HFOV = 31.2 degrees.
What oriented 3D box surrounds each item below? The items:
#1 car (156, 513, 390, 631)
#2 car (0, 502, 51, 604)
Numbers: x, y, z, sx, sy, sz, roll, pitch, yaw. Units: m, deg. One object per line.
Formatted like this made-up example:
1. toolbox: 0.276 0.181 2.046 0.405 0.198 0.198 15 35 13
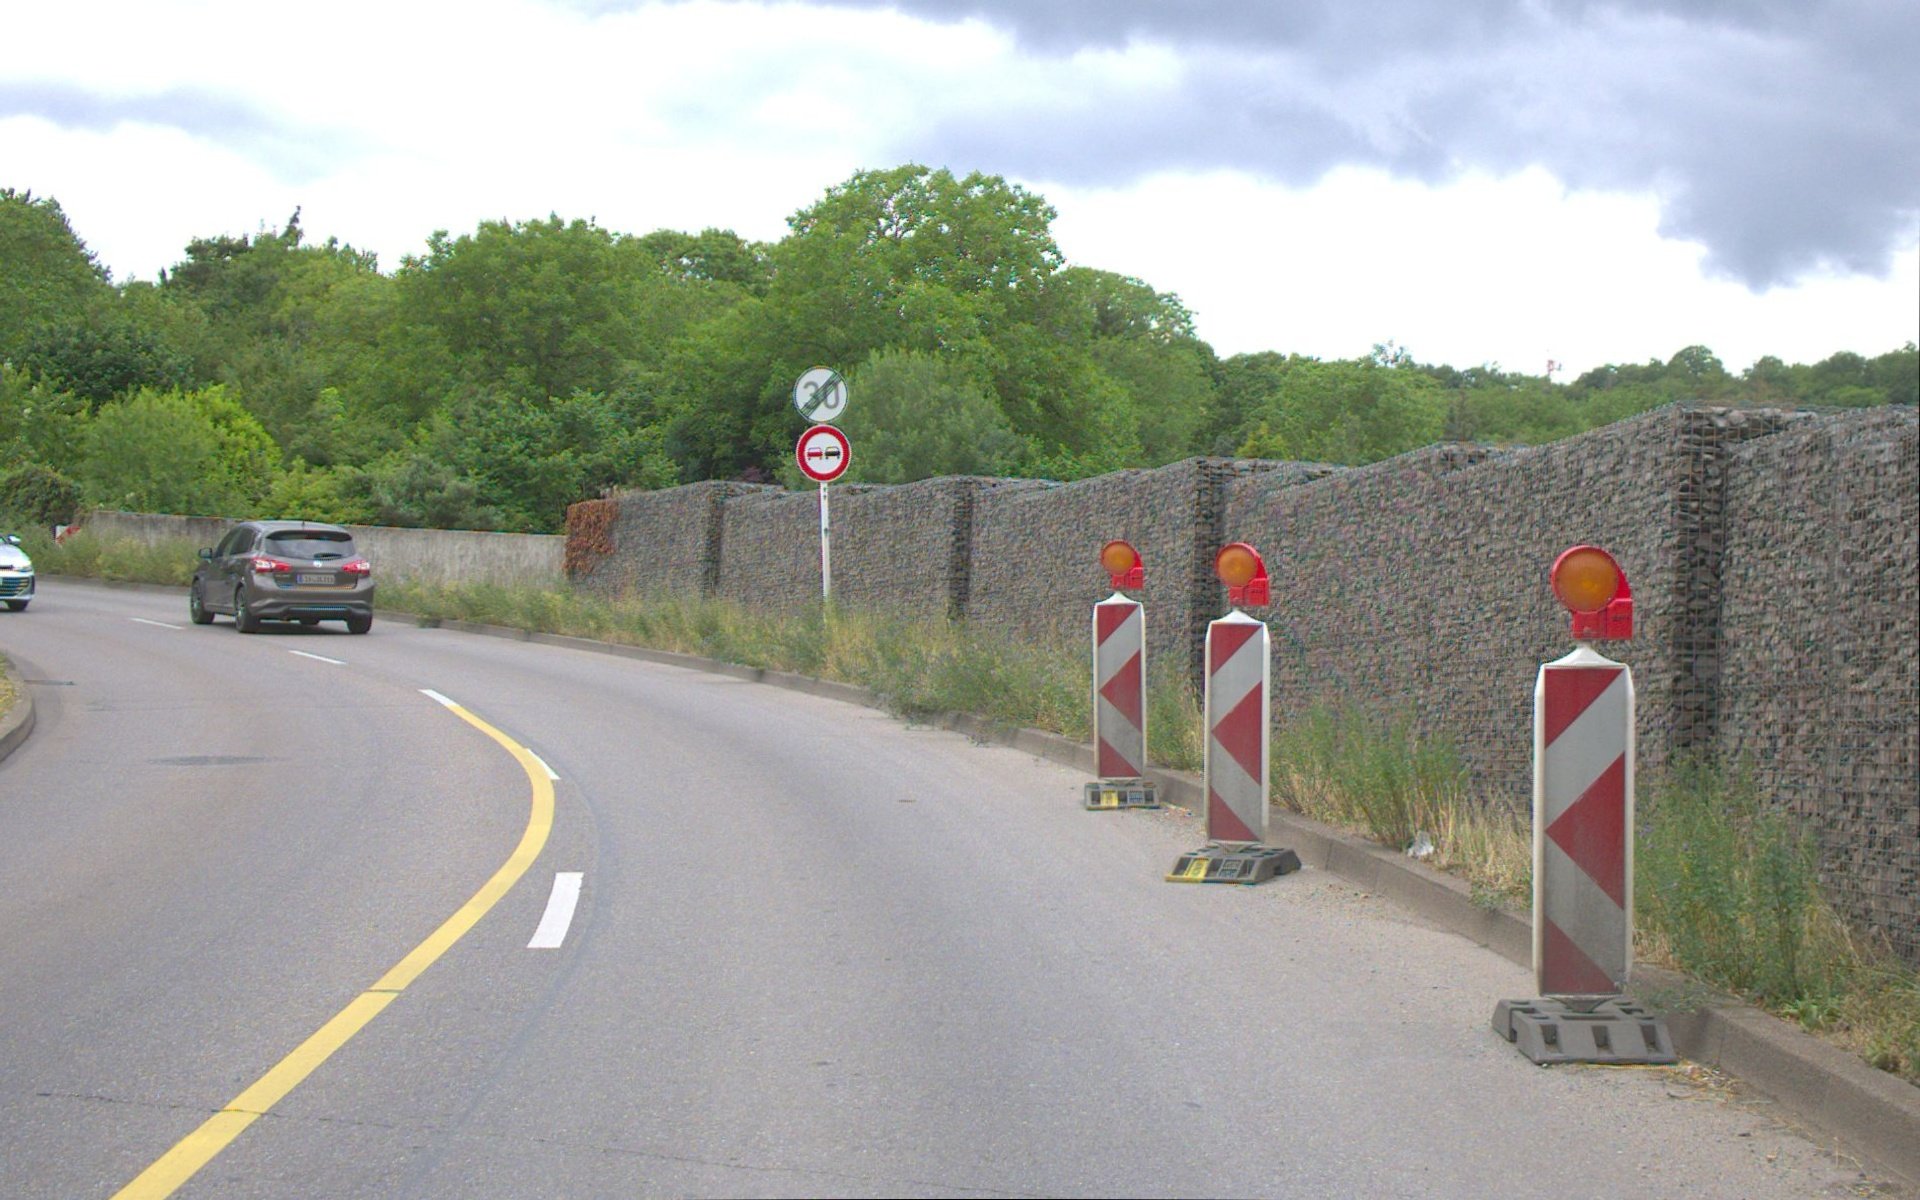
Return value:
1. car: -9.530 -0.417 47.475 1.839 1.478 4.000 0 3 -33
2. car: -15.478 -0.751 52.256 1.882 1.472 4.602 -1 3 -33
